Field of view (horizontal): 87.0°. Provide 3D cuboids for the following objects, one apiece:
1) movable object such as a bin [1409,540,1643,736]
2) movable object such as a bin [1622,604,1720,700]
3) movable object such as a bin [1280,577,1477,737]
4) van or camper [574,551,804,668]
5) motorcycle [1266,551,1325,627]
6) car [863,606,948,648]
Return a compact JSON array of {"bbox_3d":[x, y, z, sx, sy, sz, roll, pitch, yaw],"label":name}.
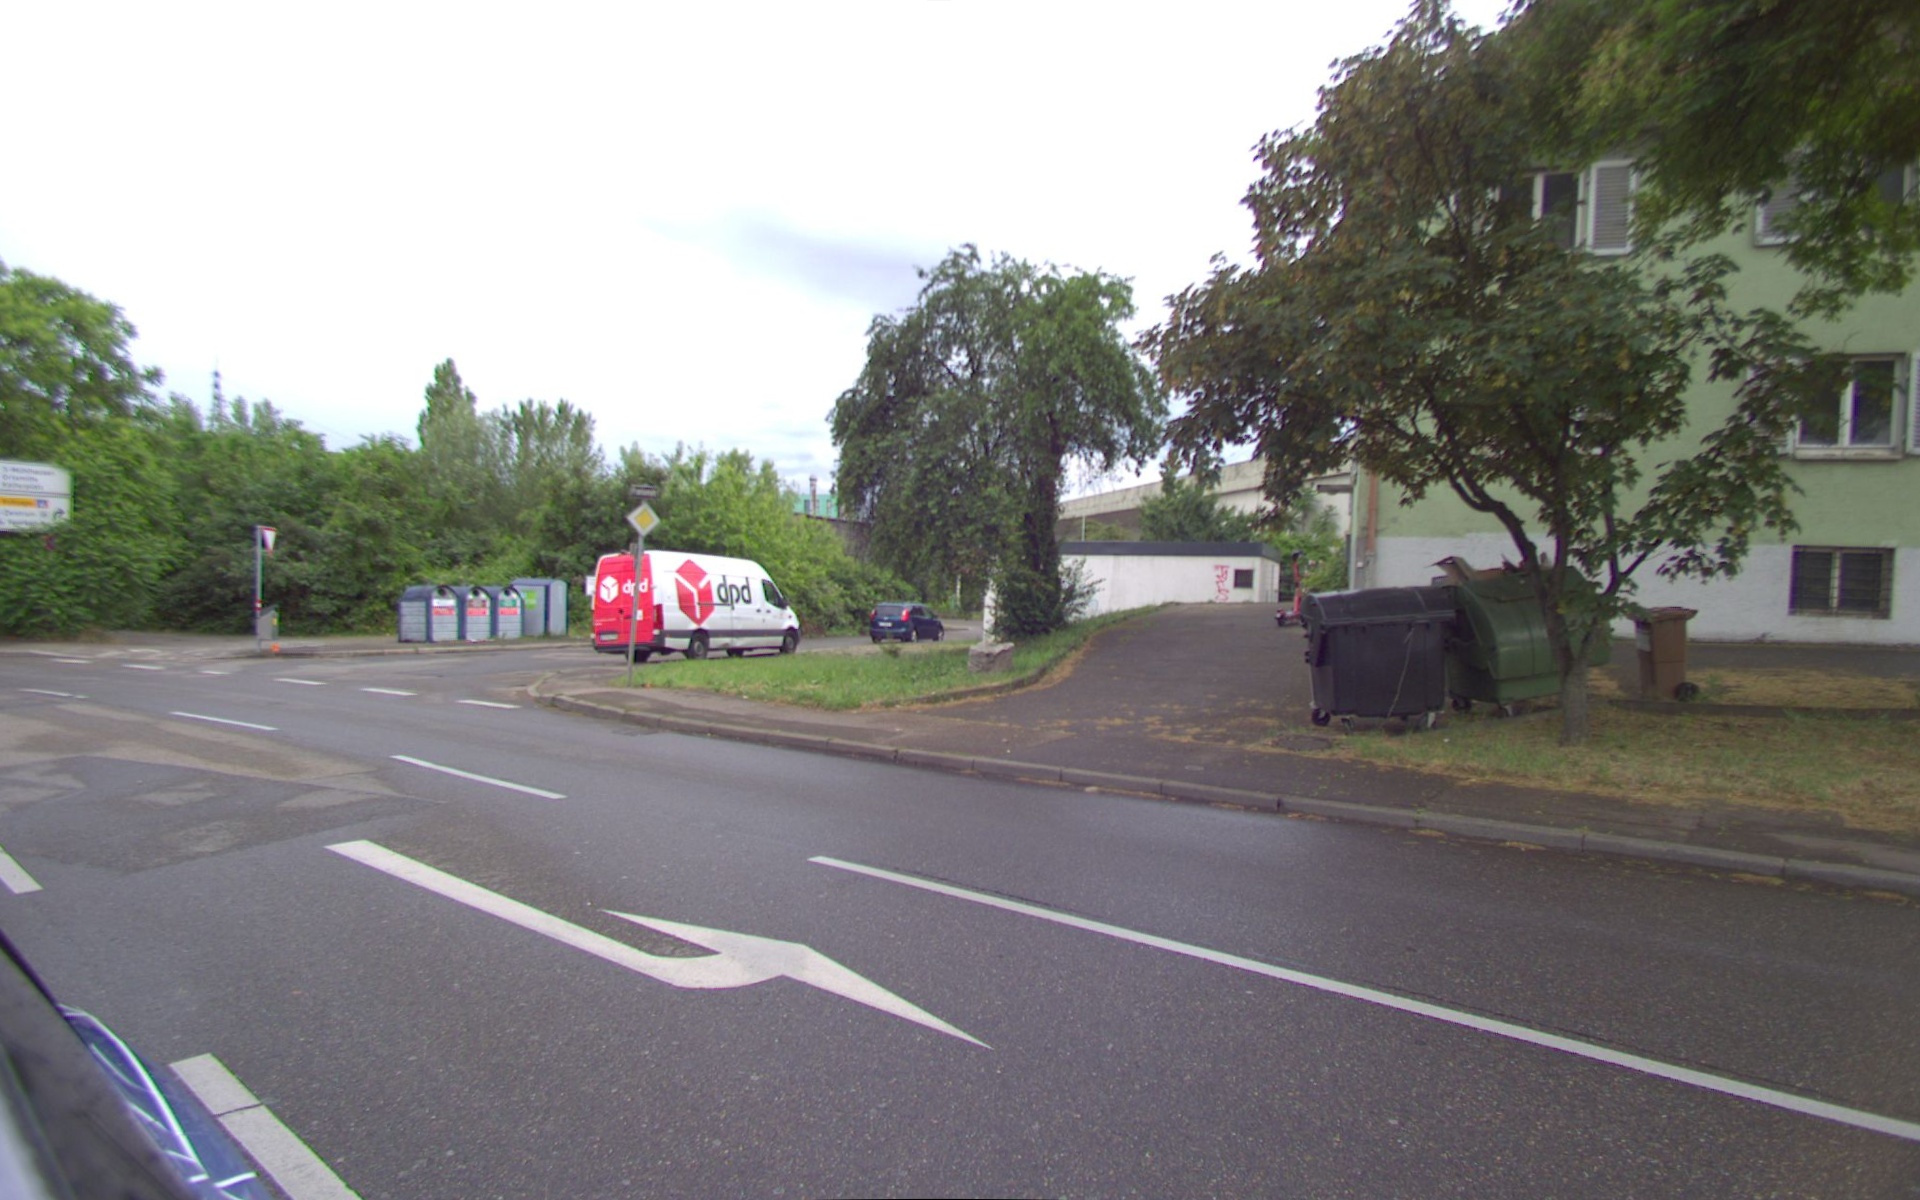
[{"bbox_3d":[5.707,0.364,10.376,1.434,1.774,1.577,-3,0,3],"label":"movable object such as a bin"},{"bbox_3d":[7.221,0.515,10.297,0.555,0.917,0.541,-3,0,3],"label":"movable object such as a bin"},{"bbox_3d":[4.232,0.546,10.415,1.359,1.452,1.471,-3,0,3],"label":"movable object such as a bin"},{"bbox_3d":[-6.554,0.225,25.616,2.207,2.541,6.651,0,0,20],"label":"van or camper"},{"bbox_3d":[5.743,-0.212,17.272,0.431,1.205,1.463,3,5,40],"label":"motorcycle"},{"bbox_3d":[-2.116,1.036,40.368,1.985,1.541,4.042,0,0,20],"label":"car"}]
